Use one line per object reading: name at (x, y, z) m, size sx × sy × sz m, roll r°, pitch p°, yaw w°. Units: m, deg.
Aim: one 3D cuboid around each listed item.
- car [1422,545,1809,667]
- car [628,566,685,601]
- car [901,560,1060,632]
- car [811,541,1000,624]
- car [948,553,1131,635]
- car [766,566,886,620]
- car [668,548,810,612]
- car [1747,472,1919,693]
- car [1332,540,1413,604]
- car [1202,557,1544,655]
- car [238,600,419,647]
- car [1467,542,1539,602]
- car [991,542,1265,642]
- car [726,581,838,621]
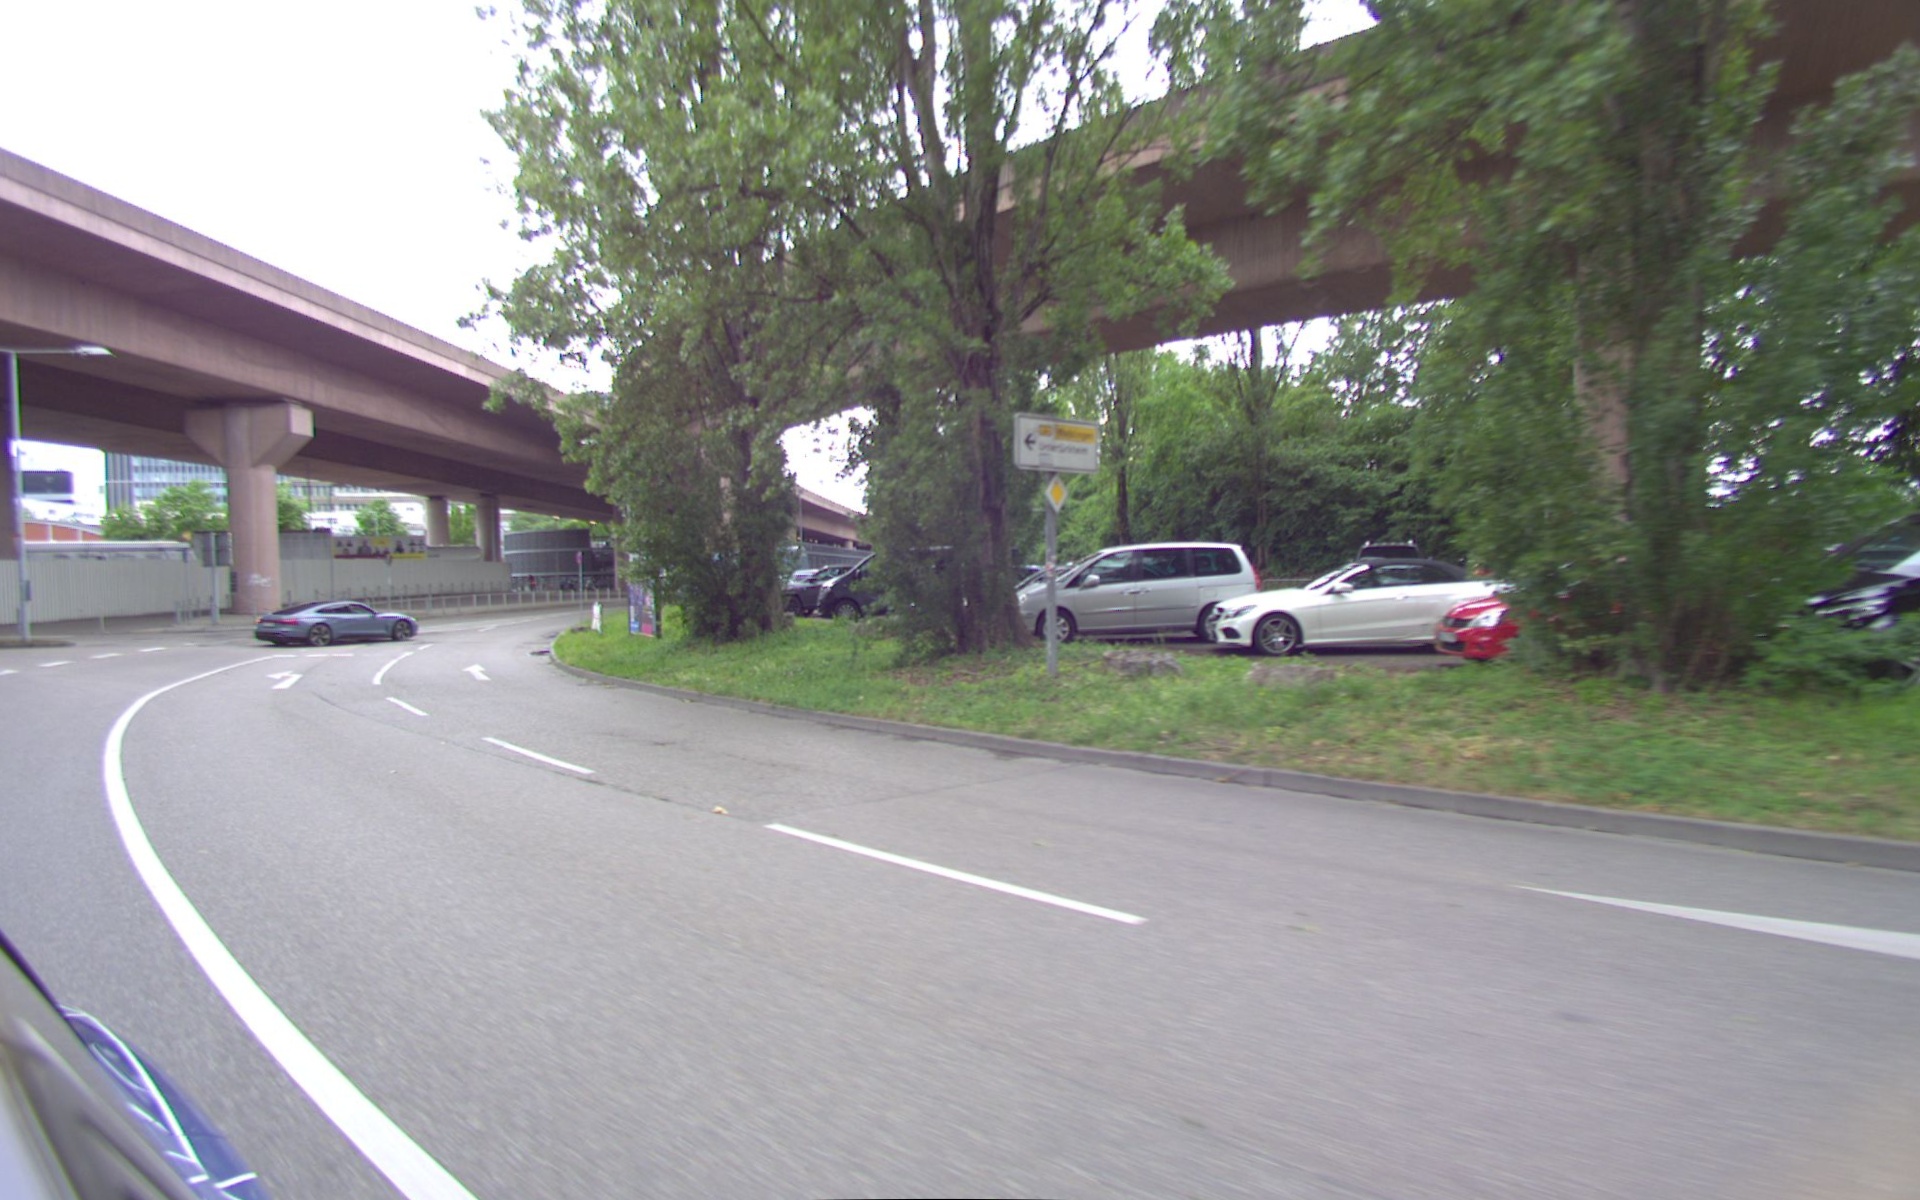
car at (7.882, 0.065, 12.445) m, size 3.658 × 1.390 × 1.563 m, roll 0°, pitch 1°, yaw 5°
car at (-24.691, -1.303, 82.486) m, size 2.275 × 2.605 × 5.674 m, roll 1°, pitch -1°, yaw 7°
car at (0.461, -0.077, 23.840) m, size 3.577 × 1.548 × 1.696 m, roll 1°, pitch -1°, yaw 0°
car at (-1.371, -0.449, 26.621) m, size 4.669 × 2.029 × 1.851 m, roll 1°, pitch -1°, yaw 9°
car at (1.625, -0.144, 20.875) m, size 3.582 × 1.548 × 1.694 m, roll 1°, pitch 1°, yaw 5°
car at (-4.171, -0.196, 31.837) m, size 3.577 × 1.576 × 1.356 m, roll 1°, pitch -1°, yaw 0°
car at (-9.456, -0.838, 43.441) m, size 5.625 × 2.600 × 1.823 m, roll 1°, pitch -1°, yaw 11°
car at (10.691, -0.181, 9.534) m, size 4.911 × 1.931 × 1.854 m, roll 0°, pitch 1°, yaw 5°
car at (10.265, -0.685, 25.345) m, size 1.305 × 1.498 × 2.967 m, roll 0°, pitch 1°, yaw 11°
car at (6.055, 0.084, 15.302) m, size 4.462 × 1.374 × 1.693 m, roll 0°, pitch 1°, yaw 7°
car at (-20.159, 0.702, 32.550) m, size 1.922 × 1.369 × 4.715 m, roll 0°, pitch 0°, yaw 24°
car at (12.247, -0.617, 22.937) m, size 1.312 × 1.244 × 2.951 m, roll 0°, pitch 1°, yaw 26°
car at (2.904, -0.142, 18.124) m, size 4.619 × 1.686 × 1.694 m, roll 0°, pitch 1°, yaw 5°
car at (-6.025, 0.050, 34.507) m, size 3.577 × 1.243 × 1.356 m, roll 1°, pitch -1°, yaw 0°
